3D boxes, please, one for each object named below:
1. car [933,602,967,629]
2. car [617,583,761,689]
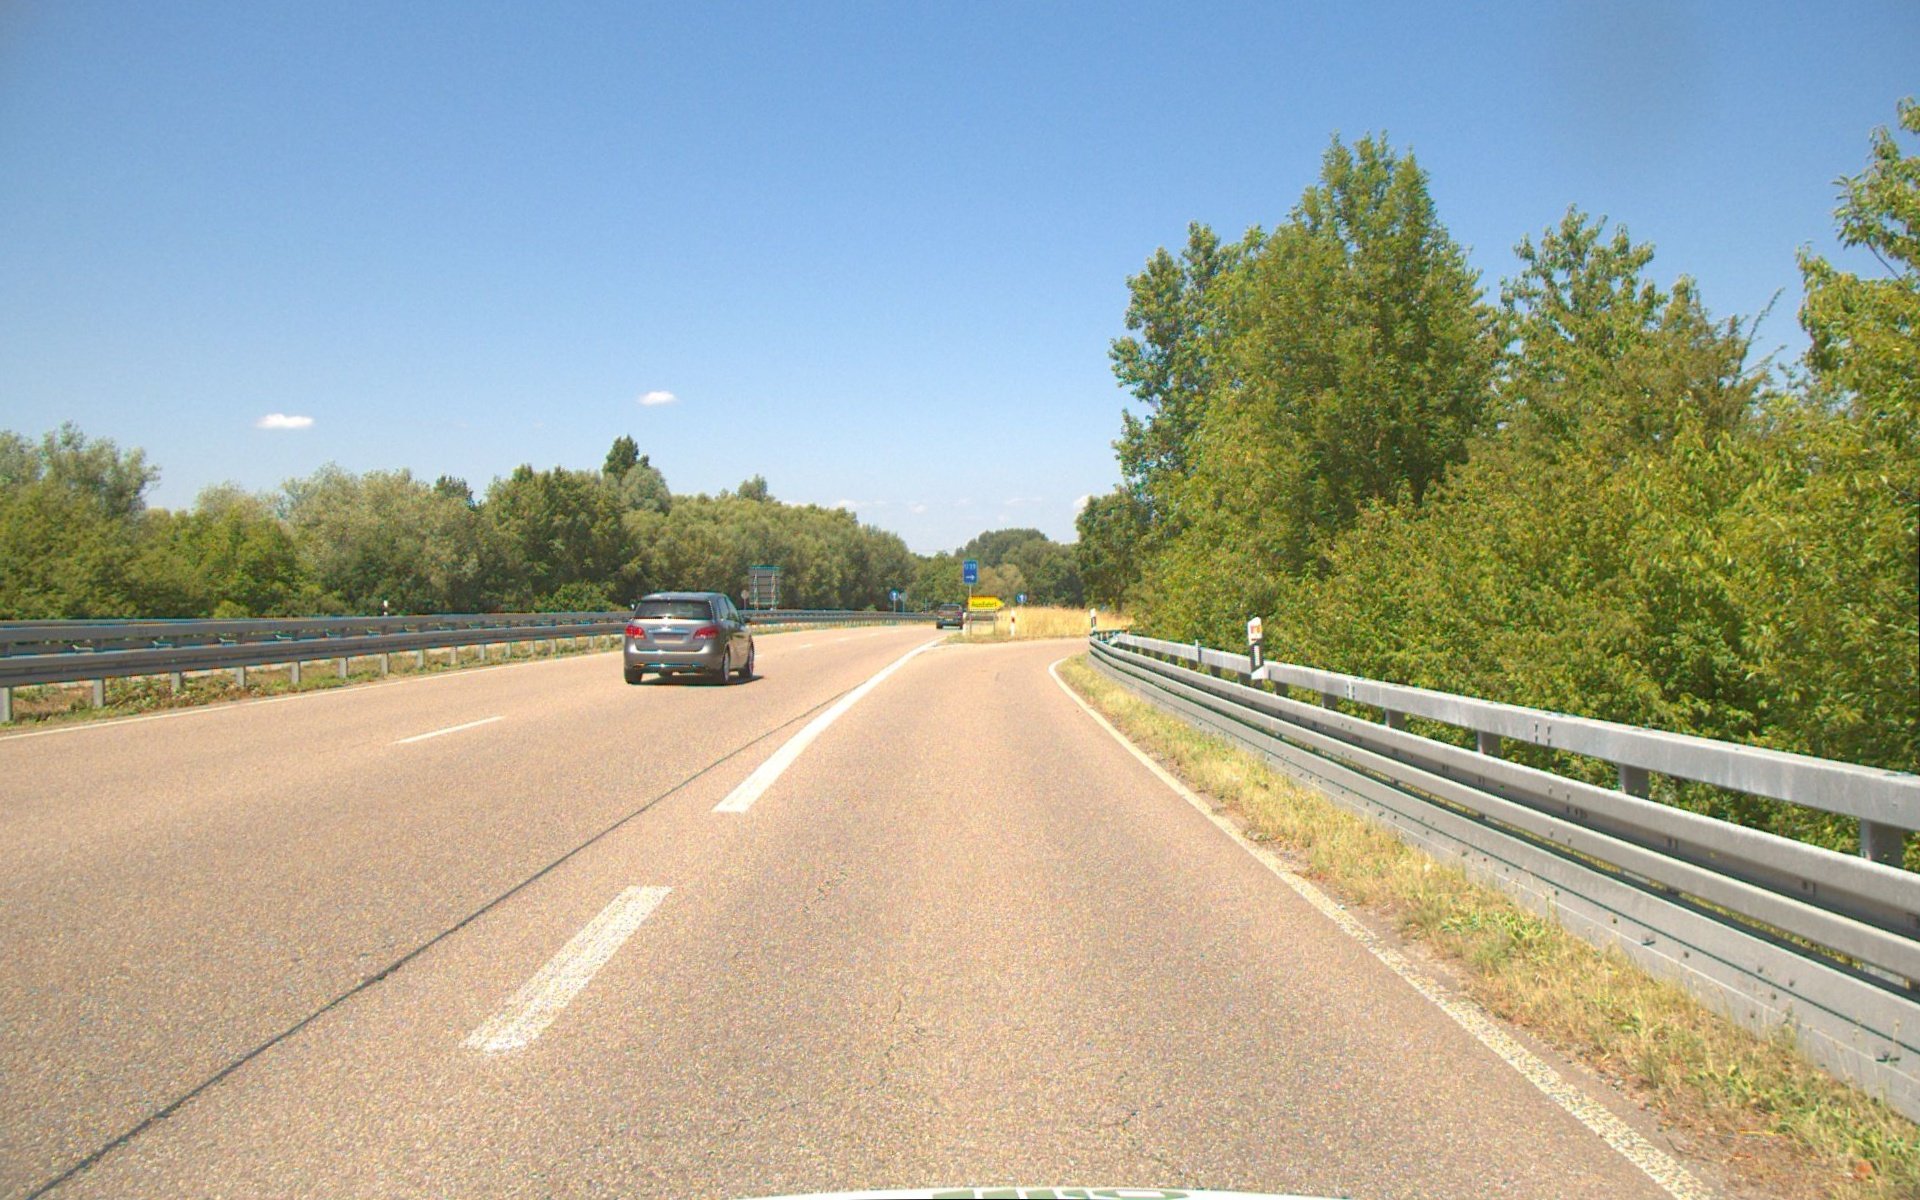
[{"bbox_3d":[-0.623,0.995,107.297,1.802,1.556,4.472,2,1,4],"label":"car"},{"bbox_3d":[-4.767,0.582,29.723,1.756,1.696,4.555,2,1,0],"label":"car"}]
